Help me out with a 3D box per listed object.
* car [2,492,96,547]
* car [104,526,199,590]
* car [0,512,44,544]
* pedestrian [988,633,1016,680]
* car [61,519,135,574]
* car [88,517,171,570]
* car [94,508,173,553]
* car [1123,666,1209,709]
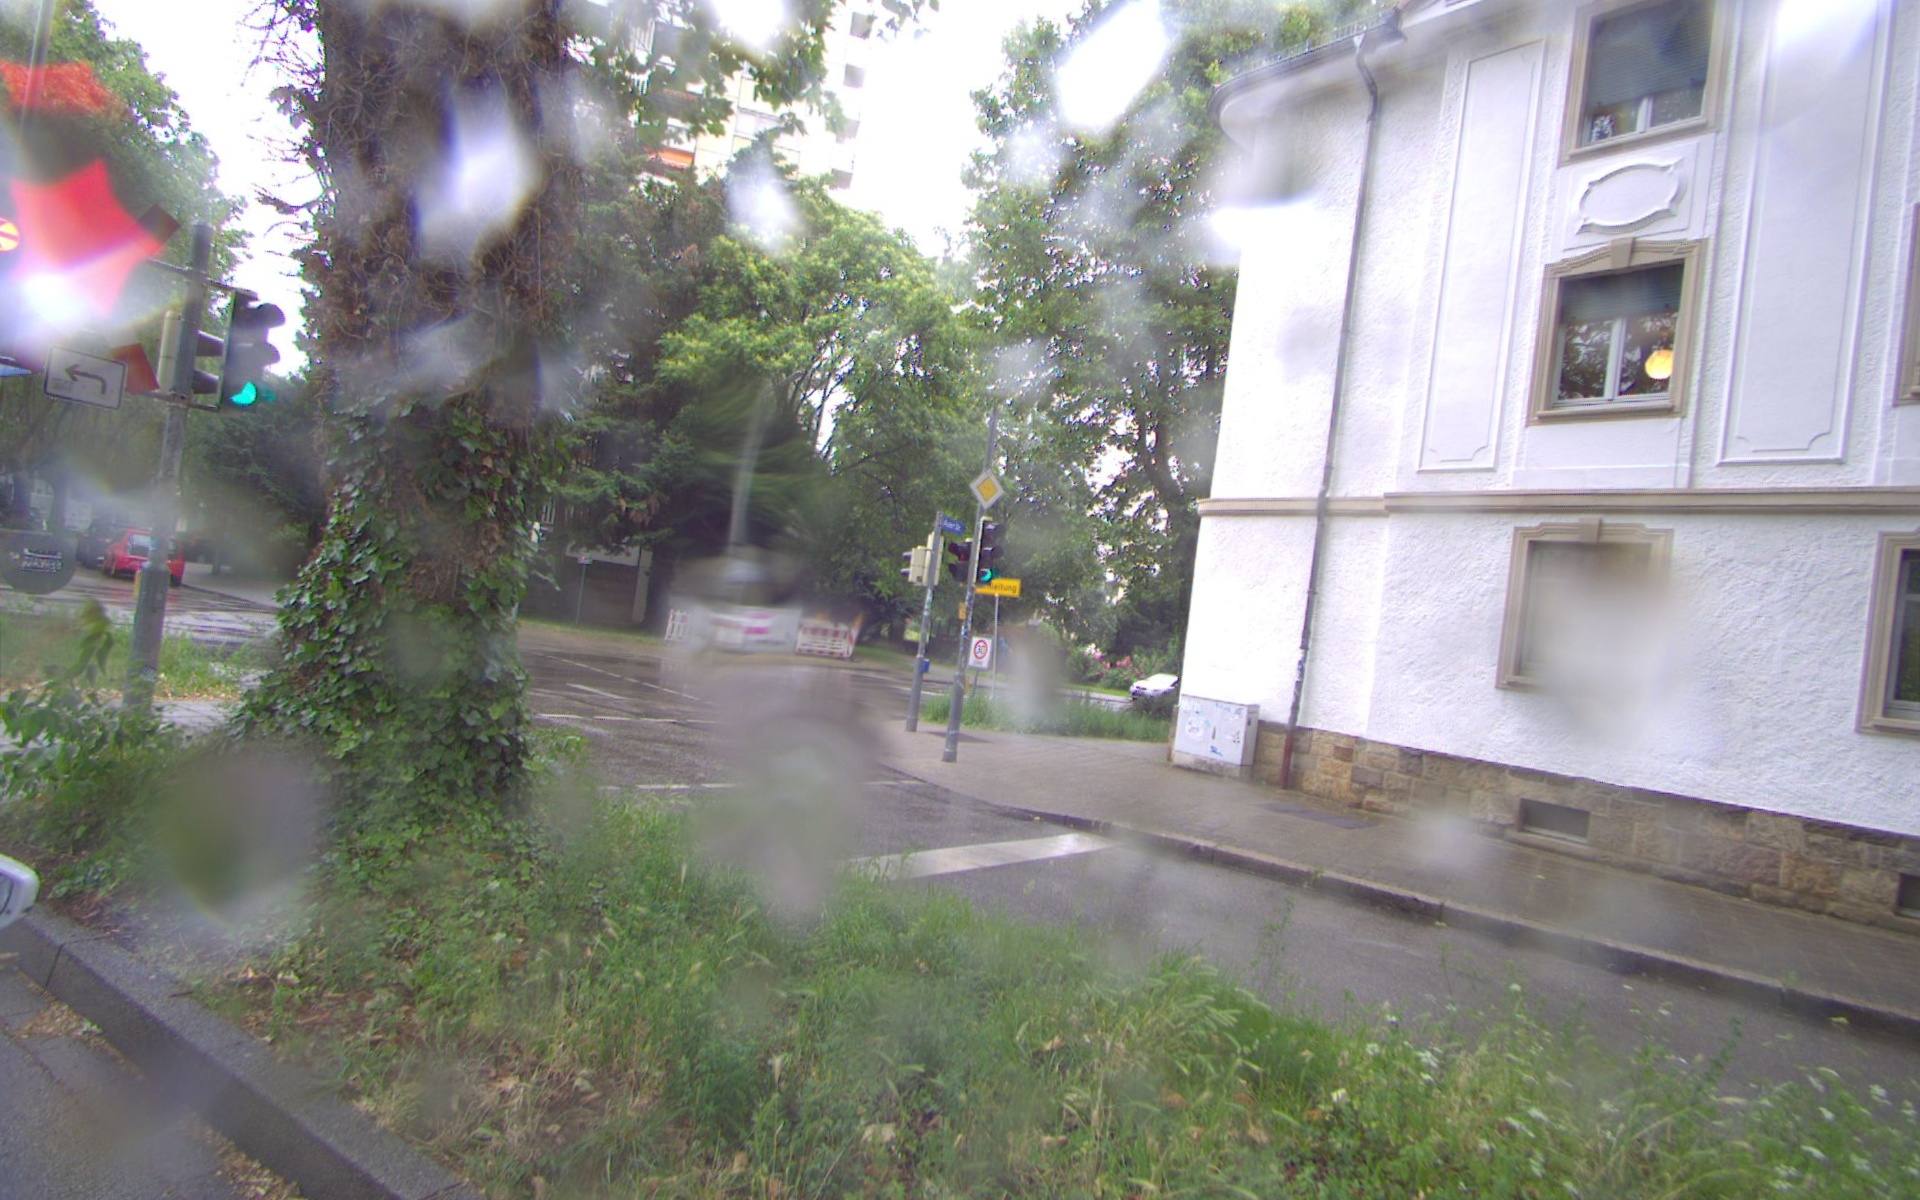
[{"bbox_3d":[-61.105,-5.388,67.525,4.680,2.982,2.043,7,-1,12],"label":"car"},{"bbox_3d":[-24.824,-1.307,30.836,1.788,1.515,3.950,10,-2,-44],"label":"car"},{"bbox_3d":[-56.199,-4.374,58.621,1.974,1.565,3.980,6,-3,44],"label":"car"},{"bbox_3d":[1.790,2.408,42.649,0.675,1.863,0.707,8,-1,-44],"label":"pedestrian"},{"bbox_3d":[-32.976,-2.076,38.447,1.779,1.747,3.951,9,-2,-44],"label":"car"},{"bbox_3d":[-28.091,-1.936,33.993,1.780,1.363,3.879,10,-2,-44],"label":"car"},{"bbox_3d":[-69.644,-5.838,84.805,4.683,2.982,2.001,7,-1,1],"label":"car"},{"bbox_3d":[9.418,4.002,45.800,1.829,1.473,3.979,6,-3,45],"label":"car"}]
